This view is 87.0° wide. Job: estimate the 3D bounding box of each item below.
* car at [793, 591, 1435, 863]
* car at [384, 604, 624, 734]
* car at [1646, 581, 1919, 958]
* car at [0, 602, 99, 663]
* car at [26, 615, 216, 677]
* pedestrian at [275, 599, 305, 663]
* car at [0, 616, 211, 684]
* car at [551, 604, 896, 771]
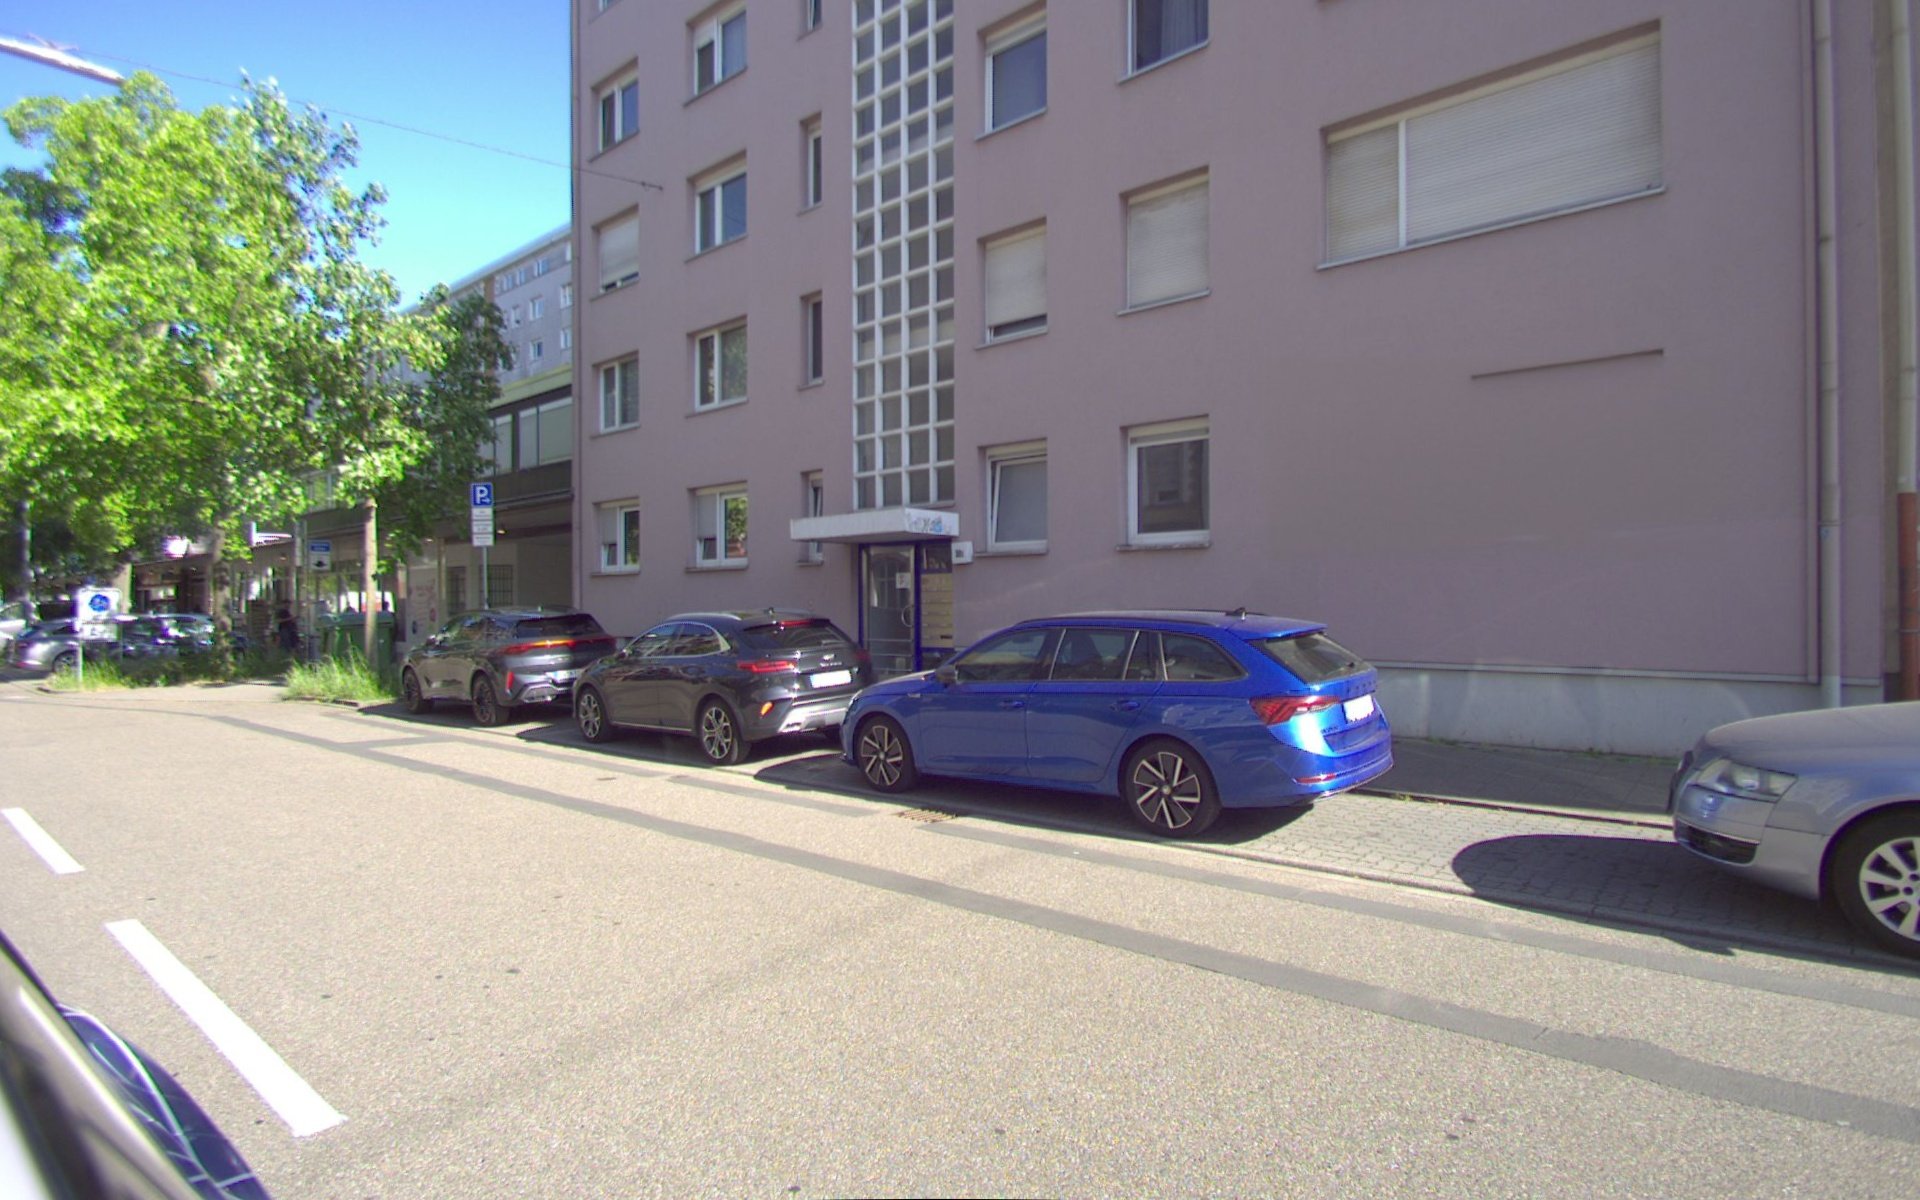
[{"bbox_3d":[0.963,0.765,8.070,4.797,1.514,1.805,-1,1,40],"label":"car"},{"bbox_3d":[-6.807,0.916,14.903,4.157,1.588,1.704,-1,1,43],"label":"car"},{"bbox_3d":[5.645,0.663,3.910,4.797,1.514,1.805,-1,1,40],"label":"car"},{"bbox_3d":[-32.458,1.098,35.080,1.913,2.058,3.824,-1,-1,43],"label":"car"},{"bbox_3d":[-23.585,1.240,28.533,1.913,1.564,3.943,-1,-1,43],"label":"car"},{"bbox_3d":[-19.100,0.873,28.848,0.502,1.820,0.615,-1,-1,42],"label":"pedestrian"},{"bbox_3d":[-21.707,1.209,25.796,1.913,1.564,3.943,-1,-1,43],"label":"car"},{"bbox_3d":[-2.793,0.840,11.383,4.157,1.478,1.704,-1,1,43],"label":"car"}]
